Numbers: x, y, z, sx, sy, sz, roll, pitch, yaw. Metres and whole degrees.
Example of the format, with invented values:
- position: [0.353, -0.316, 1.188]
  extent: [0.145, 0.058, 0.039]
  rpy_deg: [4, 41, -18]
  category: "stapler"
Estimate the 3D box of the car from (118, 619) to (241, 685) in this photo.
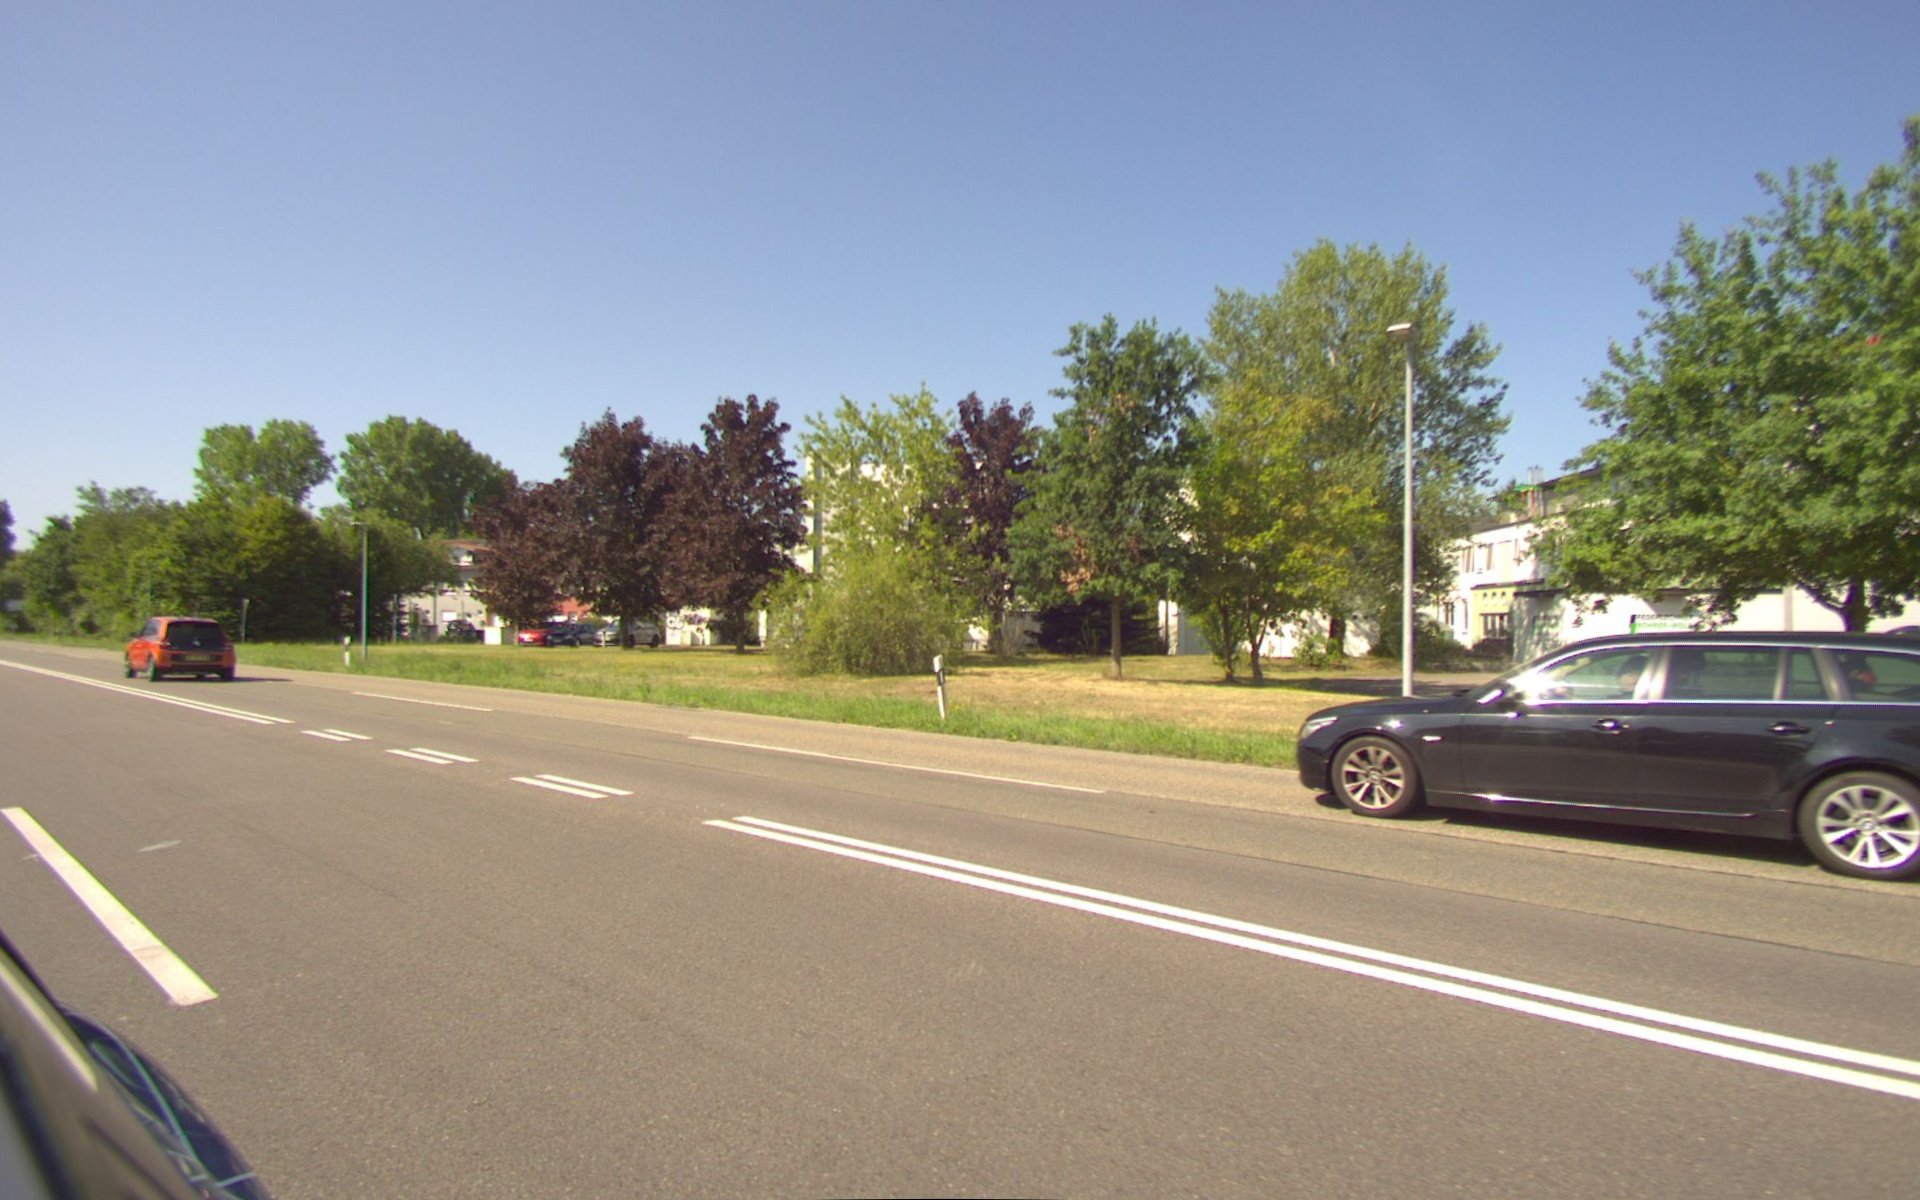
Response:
- position: [-19.413, 1.283, 25.130]
  extent: [3.842, 1.509, 1.633]
  rpy_deg: [-1, -4, 41]
  category: "car"

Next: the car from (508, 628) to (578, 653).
- position: [-23.740, 2.317, 57.729]
  extent: [1.803, 1.381, 3.986]
  rpy_deg: [-1, -3, 11]
  category: "car"

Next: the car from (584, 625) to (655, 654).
- position: [-17.464, 2.043, 52.087]
  extent: [1.803, 1.381, 3.986]
  rpy_deg: [-1, -3, 11]
  category: "car"

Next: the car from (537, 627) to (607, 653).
- position: [-21.438, 2.209, 56.018]
  extent: [1.803, 1.381, 3.986]
  rpy_deg: [-1, -3, 11]
  category: "car"

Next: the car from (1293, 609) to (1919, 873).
- position: [4.995, 0.860, 7.200]
  extent: [4.737, 1.492, 1.635]
  rpy_deg: [-1, -4, 41]
  category: "car"

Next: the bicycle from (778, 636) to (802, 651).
- position: [-9.155, 2.355, 54.529]
  extent: [1.238, 0.818, 0.408]
  rpy_deg: [-1, -2, 17]
  category: "bicycle"
